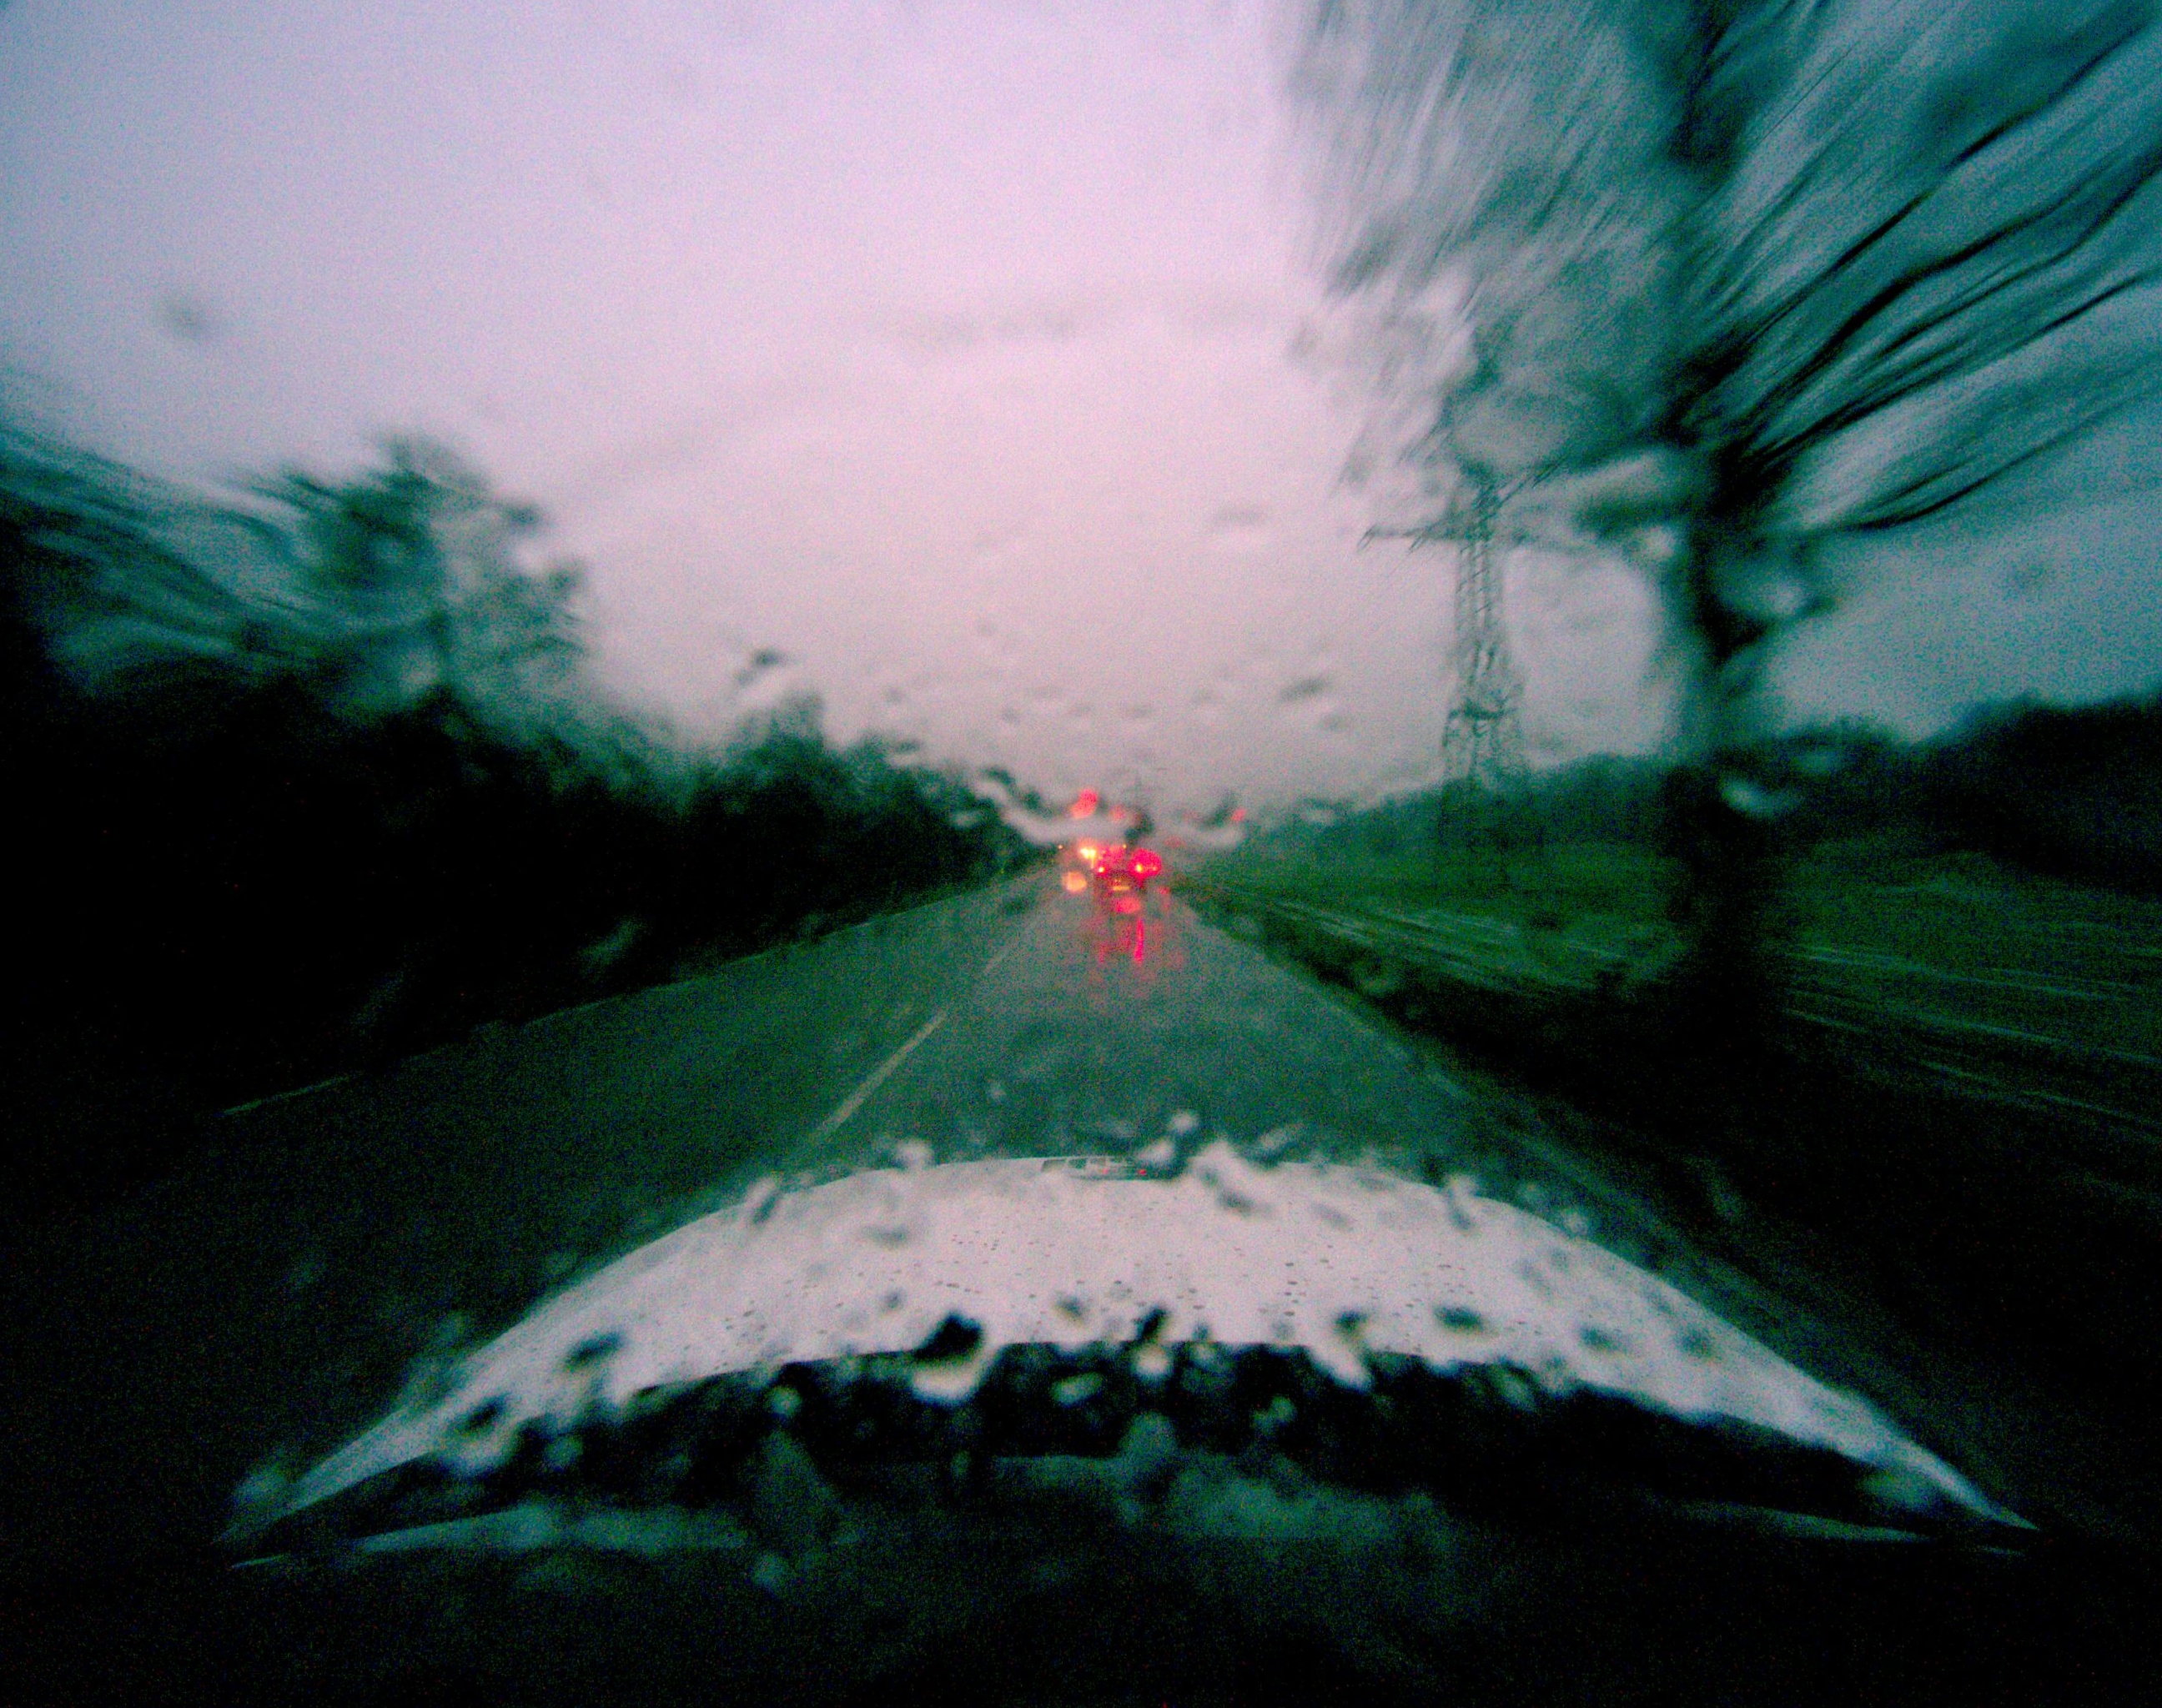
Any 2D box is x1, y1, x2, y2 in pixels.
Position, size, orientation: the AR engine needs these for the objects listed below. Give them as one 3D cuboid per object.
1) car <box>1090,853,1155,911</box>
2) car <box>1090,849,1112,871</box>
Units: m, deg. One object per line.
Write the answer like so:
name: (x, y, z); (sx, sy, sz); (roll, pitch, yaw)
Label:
car: (1.336, 0.871, 27.116); (1.986, 1.752, 4.001); (-1, 0, 1)
car: (1.965, 0.552, 79.299); (1.985, 2.013, 4.003); (0, 1, 2)
